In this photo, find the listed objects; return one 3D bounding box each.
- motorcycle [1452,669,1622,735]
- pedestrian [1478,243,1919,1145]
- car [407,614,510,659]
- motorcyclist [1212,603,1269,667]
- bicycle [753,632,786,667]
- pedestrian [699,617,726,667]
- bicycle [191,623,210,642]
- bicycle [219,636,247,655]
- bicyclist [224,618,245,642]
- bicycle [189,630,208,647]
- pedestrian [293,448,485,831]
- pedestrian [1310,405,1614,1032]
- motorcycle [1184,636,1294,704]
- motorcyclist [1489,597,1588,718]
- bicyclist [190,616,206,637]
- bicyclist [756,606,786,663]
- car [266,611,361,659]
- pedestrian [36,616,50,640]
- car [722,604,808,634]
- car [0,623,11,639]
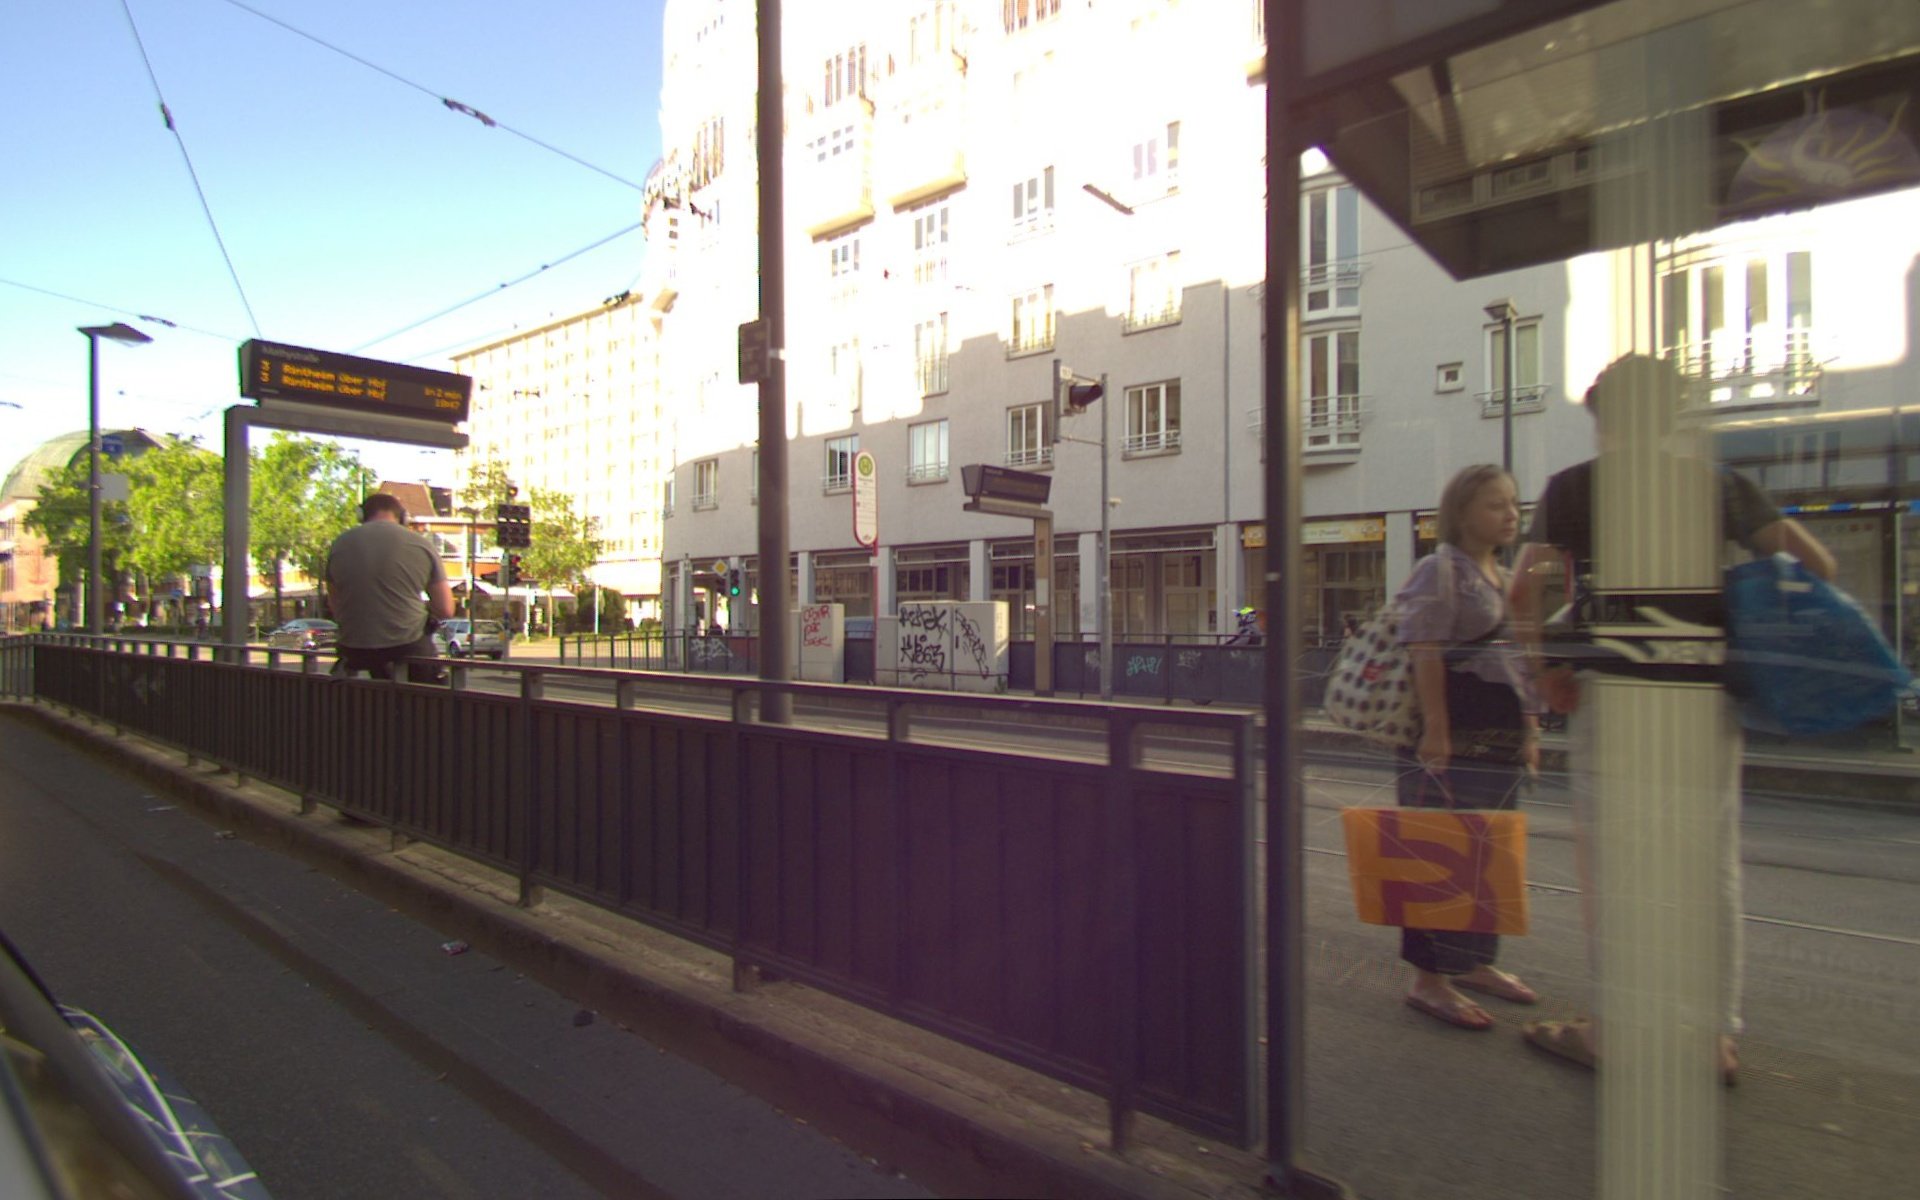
[{"bbox_3d":[7.997,1.394,14.098,2.006,0.725,0.488,1,1,42],"label":"motorcycle"},{"bbox_3d":[1.735,0.184,2.369,0.707,1.791,0.566,0,-1,-14],"label":"pedestrian"},{"bbox_3d":[-18.049,1.271,36.361,4.401,1.526,1.711,-1,-1,40],"label":"car"},{"bbox_3d":[4.992,0.603,18.006,0.827,1.082,0.553,0,1,42],"label":"motorcyclist"},{"bbox_3d":[-5.789,1.495,30.661,0.666,0.987,1.767,0,-1,-22],"label":"bicycle"},{"bbox_3d":[-7.704,1.301,31.479,0.675,1.546,0.442,-2,-2,4],"label":"pedestrian"},{"bbox_3d":[-48.841,2.086,65.070,2.233,1.195,0.492,-1,-1,39],"label":"bicycle"},{"bbox_3d":[-41.610,2.597,57.910,1.848,0.979,0.589,1,0,31],"label":"bicycle"},{"bbox_3d":[-41.526,1.713,57.925,0.988,1.295,0.584,1,-1,31],"label":"bicyclist"},{"bbox_3d":[-46.463,2.367,61.754,1.817,0.979,0.587,0,-1,41],"label":"bicycle"},{"bbox_3d":[-2.881,0.169,5.085,0.629,1.710,0.934,-1,1,-42],"label":"pedestrian"},{"bbox_3d":[1.382,0.297,2.842,0.577,1.574,0.471,0,-1,-14],"label":"pedestrian"},{"bbox_3d":[4.960,1.228,18.082,1.844,1.082,0.553,1,1,42],"label":"motorcycle"},{"bbox_3d":[8.045,0.772,14.080,1.046,1.604,0.744,-1,-2,42],"label":"motorcyclist"},{"bbox_3d":[-46.498,1.614,61.776,0.926,1.295,0.582,0,-1,41],"label":"bicyclist"},{"bbox_3d":[-5.720,1.025,30.560,0.711,1.708,1.032,0,-1,-21],"label":"bicyclist"},{"bbox_3d":[-27.948,1.457,43.705,4.605,1.925,2.205,-1,-1,40],"label":"car"},{"bbox_3d":[-58.713,1.797,64.768,0.858,1.529,0.494,-1,-3,41],"label":"pedestrian"},{"bbox_3d":[-10.069,0.994,52.197,4.081,1.413,1.787,-3,-2,27],"label":"car"},{"bbox_3d":[-90.052,2.864,94.170,4.645,1.462,1.974,-1,-1,39],"label":"car"}]
